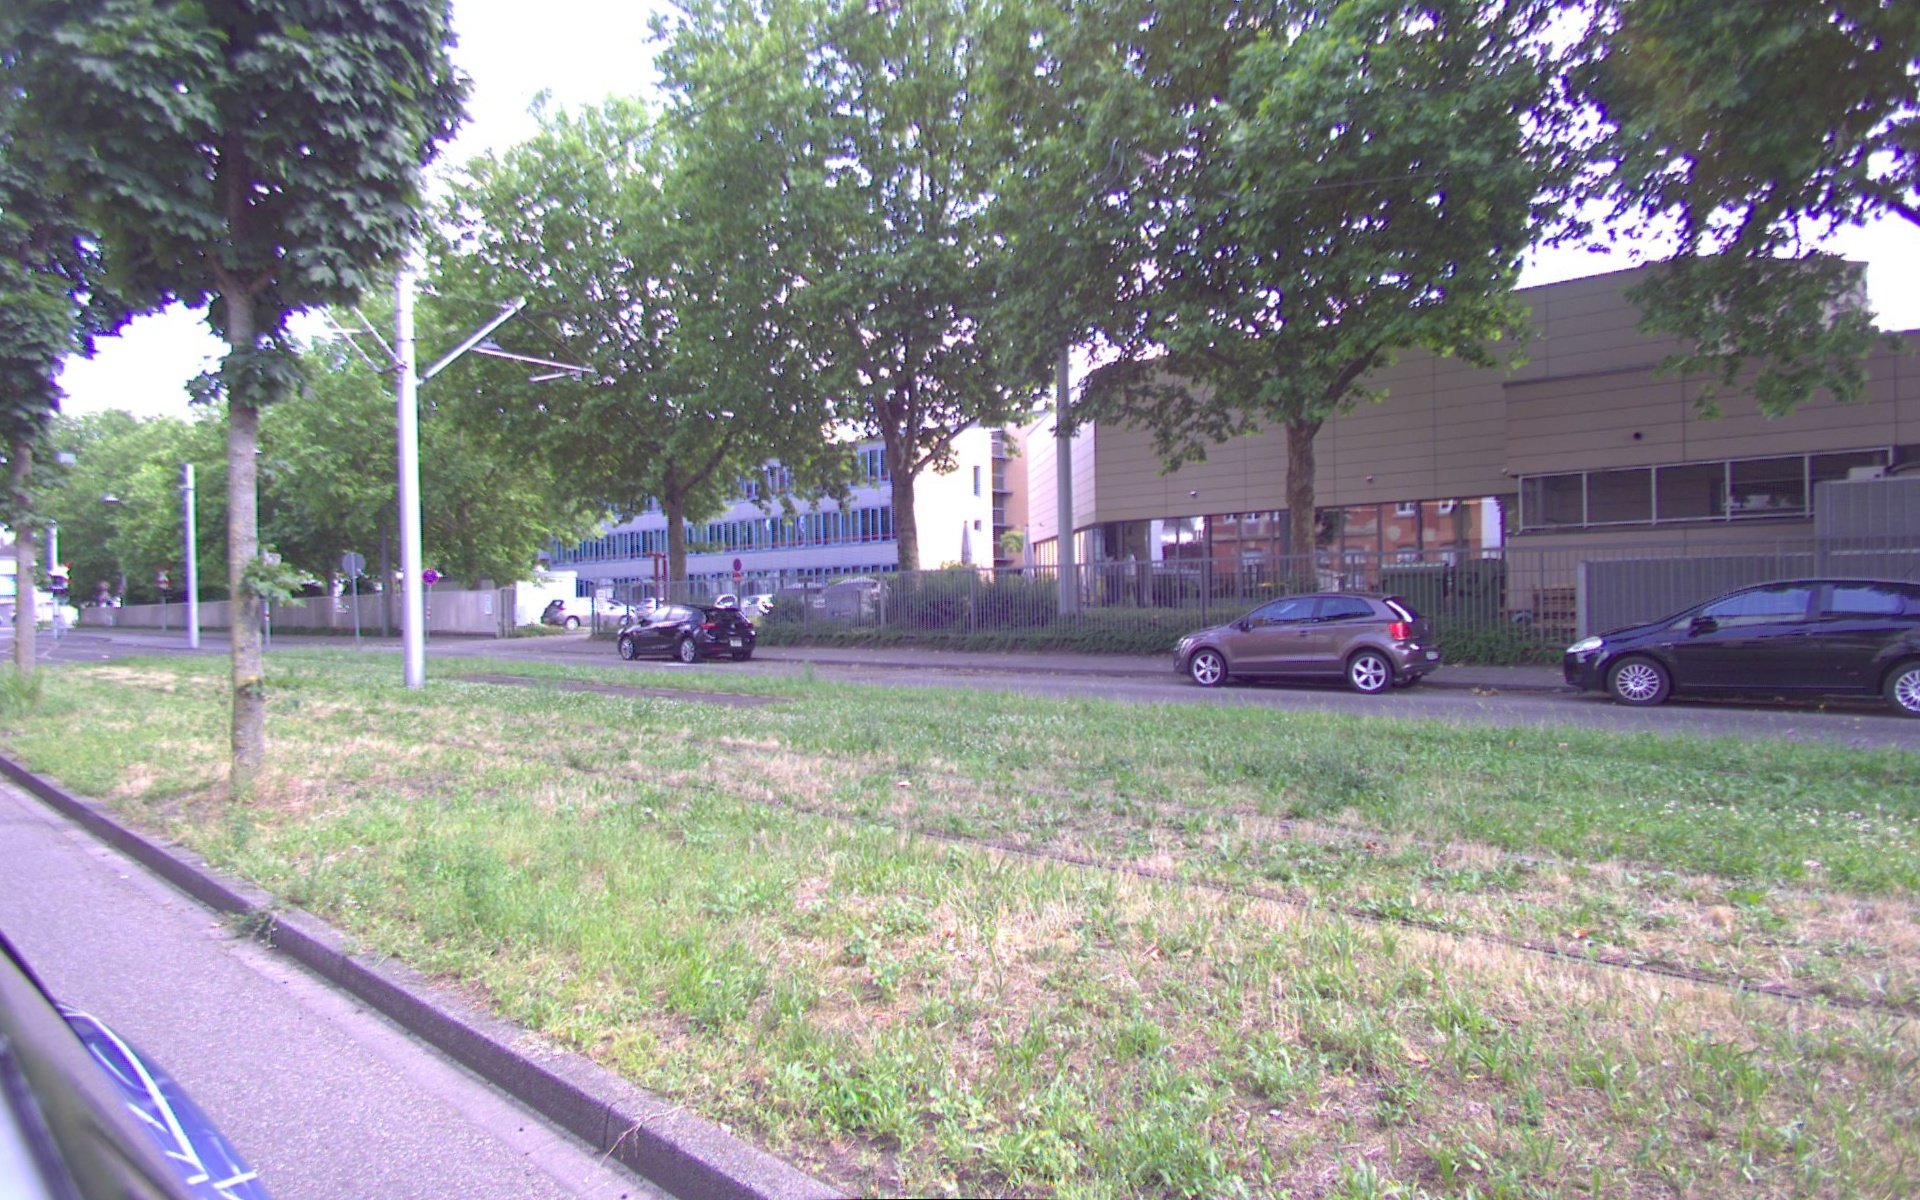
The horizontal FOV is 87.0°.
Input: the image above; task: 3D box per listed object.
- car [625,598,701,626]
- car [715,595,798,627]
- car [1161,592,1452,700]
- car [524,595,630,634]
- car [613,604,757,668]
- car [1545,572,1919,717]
[{"bbox_3d":[-17.769,0.693,60.583,1.998,1.630,3.948,-1,0,38],"label":"car"},{"bbox_3d":[-10.709,0.572,53.465,1.998,1.630,3.948,-1,0,38],"label":"car"},{"bbox_3d":[5.169,0.643,15.388,3.899,1.436,1.538,-1,0,40],"label":"car"},{"bbox_3d":[-16.886,0.606,44.774,1.998,1.630,3.948,-1,0,38],"label":"car"},{"bbox_3d":[-6.974,0.875,25.504,3.999,1.475,1.580,-1,0,42],"label":"car"},{"bbox_3d":[9.317,0.454,11.810,4.000,1.464,1.783,-1,0,43],"label":"car"}]
